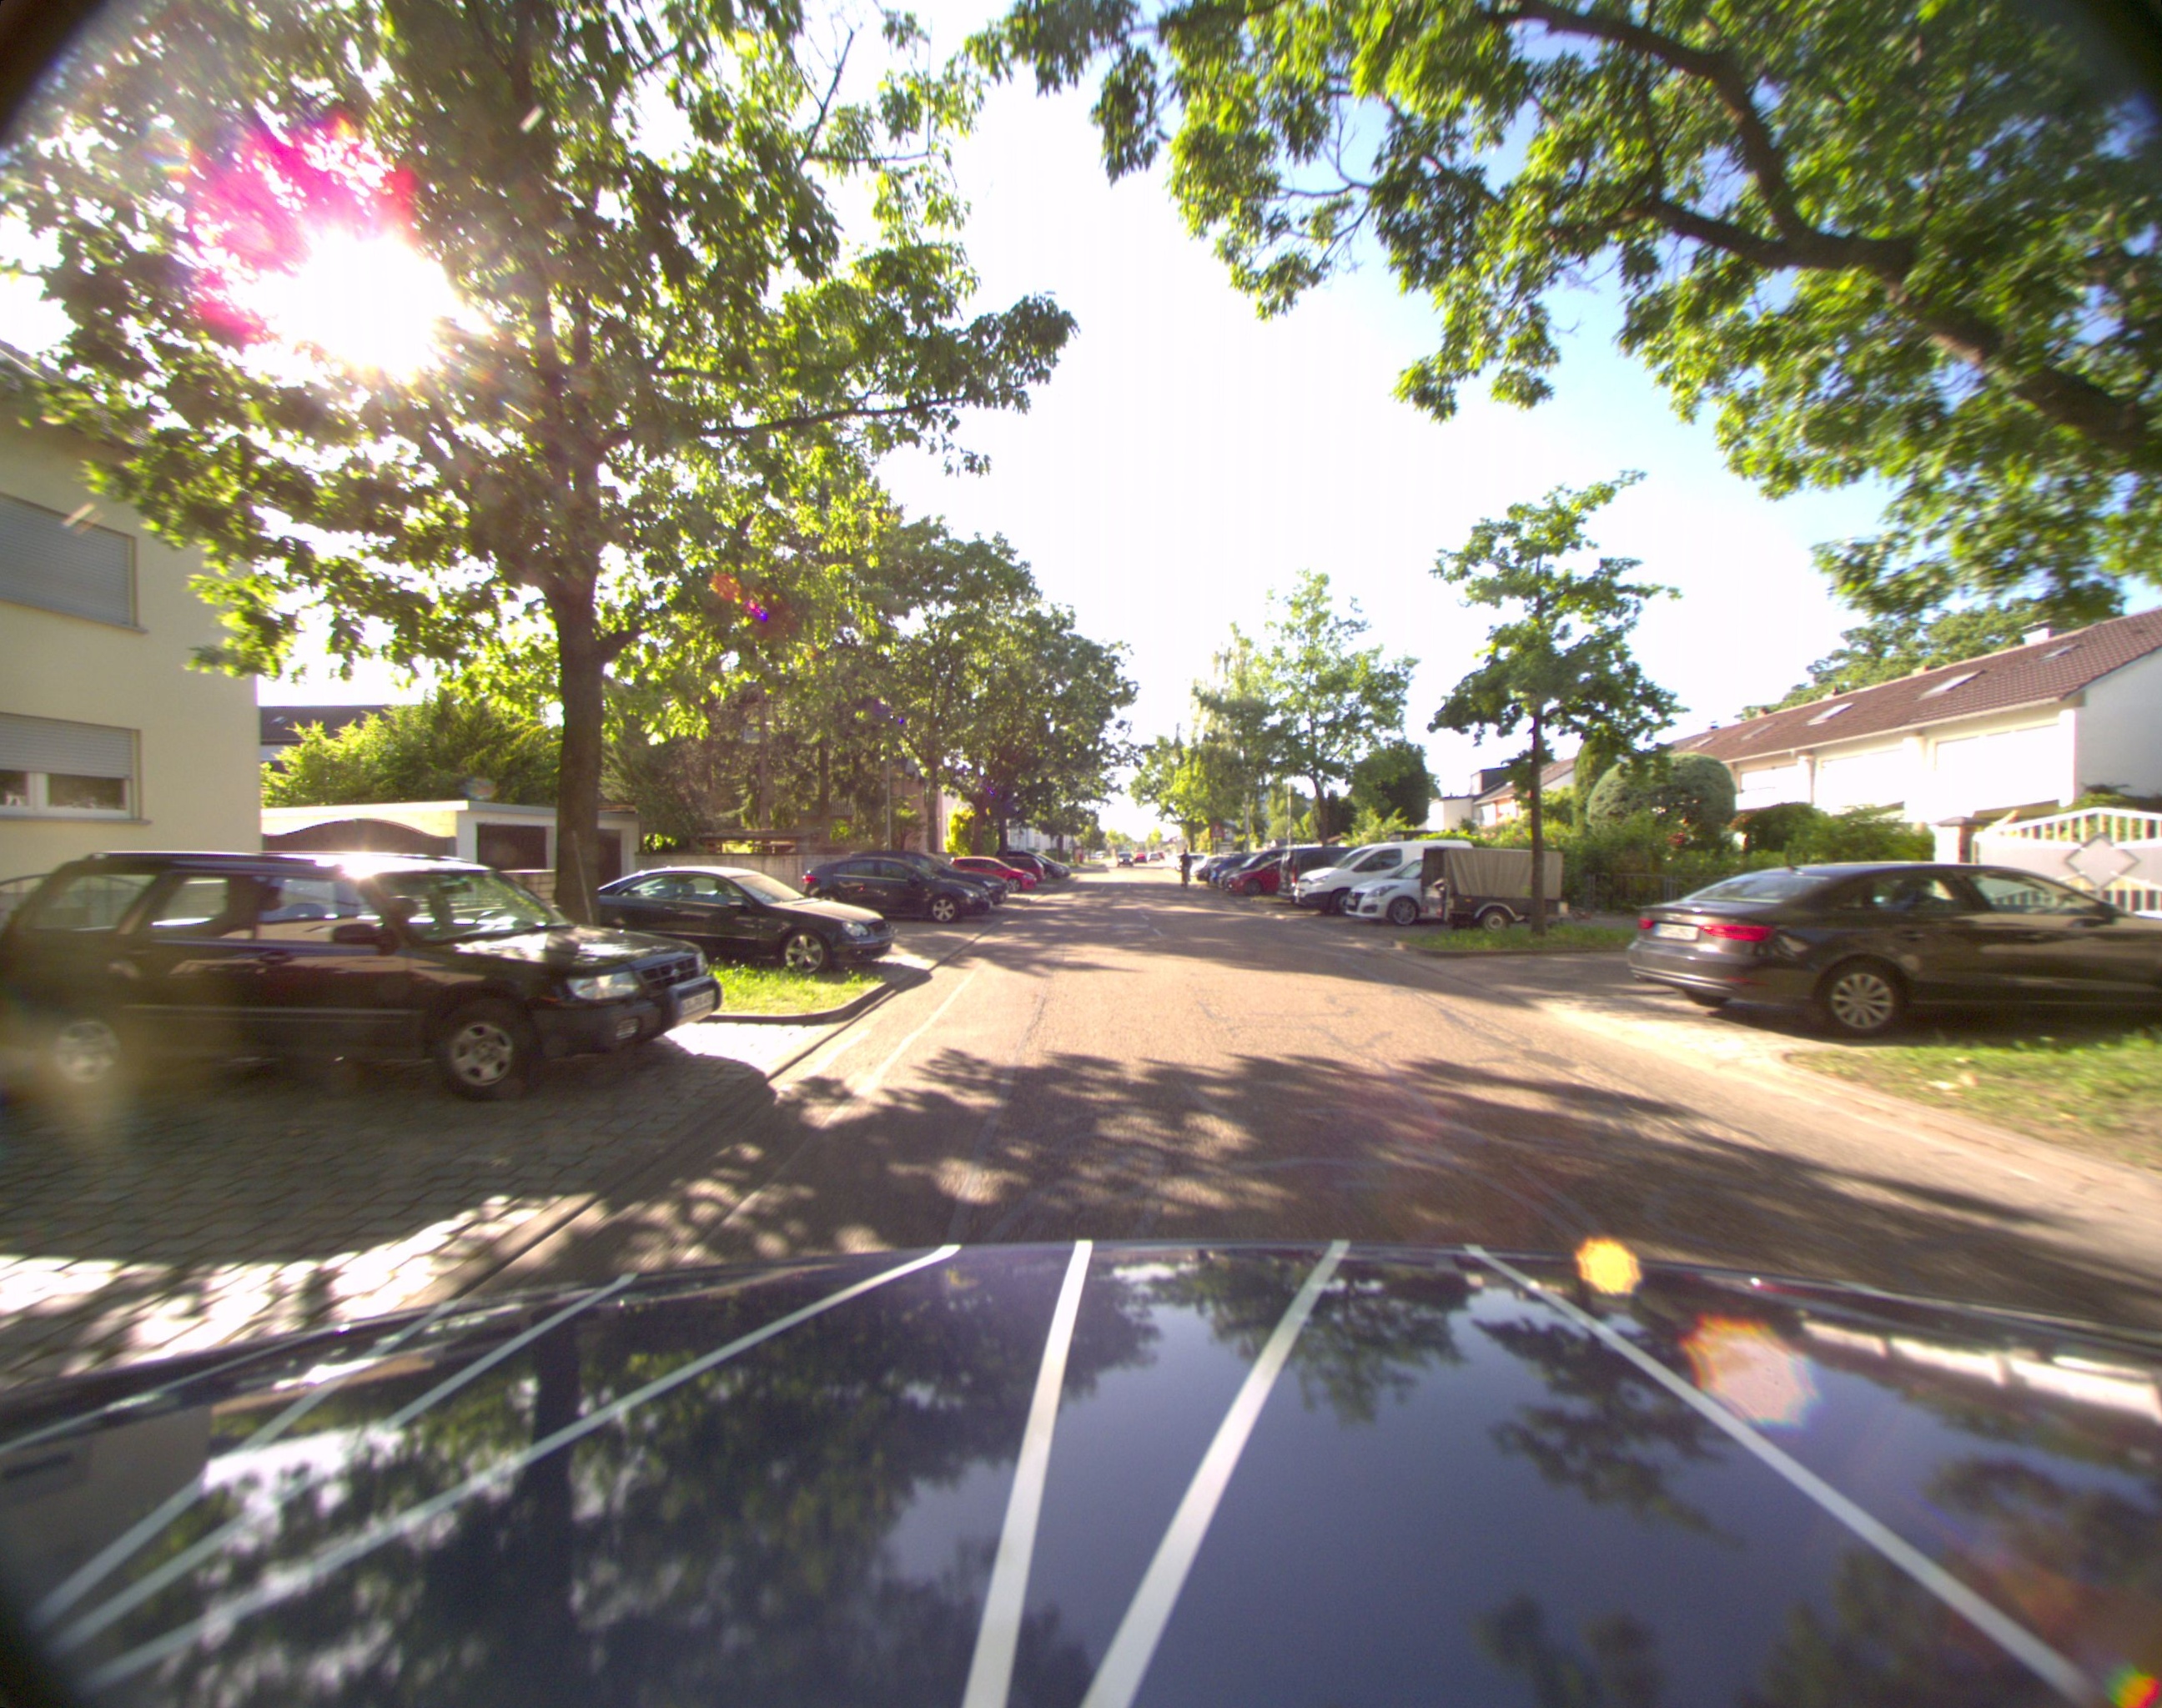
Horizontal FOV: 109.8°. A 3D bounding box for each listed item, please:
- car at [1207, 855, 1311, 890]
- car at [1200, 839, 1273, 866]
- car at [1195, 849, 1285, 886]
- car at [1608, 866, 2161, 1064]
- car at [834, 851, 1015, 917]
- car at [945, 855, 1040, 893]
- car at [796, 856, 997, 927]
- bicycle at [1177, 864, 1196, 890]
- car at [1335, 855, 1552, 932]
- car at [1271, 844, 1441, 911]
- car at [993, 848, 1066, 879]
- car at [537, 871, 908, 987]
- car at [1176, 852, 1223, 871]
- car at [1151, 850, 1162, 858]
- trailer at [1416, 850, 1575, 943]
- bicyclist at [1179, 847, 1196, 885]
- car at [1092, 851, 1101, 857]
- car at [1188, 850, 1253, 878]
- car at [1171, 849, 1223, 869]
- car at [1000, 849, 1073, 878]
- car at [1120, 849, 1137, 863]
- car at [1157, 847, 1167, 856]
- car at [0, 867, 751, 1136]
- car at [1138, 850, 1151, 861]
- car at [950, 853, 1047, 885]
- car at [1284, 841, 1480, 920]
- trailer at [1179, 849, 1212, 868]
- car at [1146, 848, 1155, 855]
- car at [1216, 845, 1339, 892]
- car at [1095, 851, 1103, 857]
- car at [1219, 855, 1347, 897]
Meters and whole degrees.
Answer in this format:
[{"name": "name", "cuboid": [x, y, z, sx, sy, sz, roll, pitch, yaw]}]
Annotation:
[{"name": "car", "cuboid": [8.054, 0.812, 34.635, 4.282, 1.416, 1.724, -2, 0, 1]}, {"name": "car", "cuboid": [9.022, -0.091, 44.323, 4.010, 1.506, 1.795, 0, 1, 4]}, {"name": "car", "cuboid": [8.119, 0.682, 39.064, 4.220, 1.714, 1.761, -2, 1, 2]}, {"name": "car", "cuboid": [7.426, 0.890, 6.755, 4.220, 1.462, 1.691, -1, -1, 3]}, {"name": "car", "cuboid": [-4.221, 0.798, 21.026, 4.584, 1.637, 1.838, 1, 1, 1]}, {"name": "car", "cuboid": [-3.755, 0.822, 32.695, 3.786, 1.476, 1.755, 1, 2, 3]}, {"name": "car", "cuboid": [-4.303, 0.863, 18.230, 4.330, 1.521, 1.841, 1, 0, 1]}, {"name": "bicycle", "cuboid": [4.679, 1.023, 33.703, 0.598, 1.052, 1.986, 2, 1, 2]}, {"name": "car", "cuboid": [7.920, 0.830, 16.838, 3.998, 1.507, 1.690, -1, 1, -2]}, {"name": "car", "cuboid": [7.973, 0.658, 22.292, 4.249, 1.760, 1.967, -2, 1, -1]}, {"name": "car", "cuboid": [-3.087, 0.552, 46.354, 4.221, 1.771, 1.789, 2, 1, 3]}, {"name": "car", "cuboid": [-4.896, 0.992, 10.733, 4.437, 1.323, 1.691, 2, 1, 3]}, {"name": "car", "cuboid": [9.587, 0.603, 61.596, 3.523, 1.487, 1.708, 0, 0, 1]}, {"name": "car", "cuboid": [12.272, -0.002, 124.084, 1.764, 1.390, 3.852, 0, 0, 6]}, {"name": "trailer", "cuboid": [7.764, 0.771, 14.379, 2.240, 1.664, 1.475, 0, 0, 5]}, {"name": "bicyclist", "cuboid": [4.711, 0.526, 33.704, 0.597, 1.664, 0.975, 2, 1, 2]}, {"name": "car", "cuboid": [3.661, 0.004, 180.613, 1.944, 1.412, 4.001, 0, 0, 5]}, {"name": "car", "cuboid": [9.022, 0.643, 49.447, 3.947, 1.604, 1.706, -2, 0, 4]}, {"name": "car", "cuboid": [9.775, 0.407, 64.091, 3.964, 1.565, 1.921, -2, 2, -4]}, {"name": "car", "cuboid": [-2.839, 0.592, 49.440, 4.513, 1.670, 1.879, 2, 1, 2]}, {"name": "car", "cuboid": [5.487, 0.201, 88.023, 1.877, 1.469, 3.851, -1, 1, 5]}, {"name": "car", "cuboid": [14.310, -0.360, 134.259, 1.764, 1.469, 3.852, -2, 0, 5]}, {"name": "car", "cuboid": [-5.022, 0.924, 5.606, 4.349, 1.551, 1.867, 1, 1, 0]}, {"name": "car", "cuboid": [9.125, 0.211, 108.747, 1.741, 1.532, 3.949, 0, 0, 7]}, {"name": "car", "cuboid": [-4.042, 0.712, 37.566, 4.513, 1.437, 1.838, 1, 1, 3]}, {"name": "car", "cuboid": [7.604, 0.641, 19.534, 4.247, 1.933, 2.000, 0, 1, -1]}, {"name": "trailer", "cuboid": [10.370, 0.384, 68.778, 2.766, 1.638, 1.299, -1, 3, -1]}, {"name": "car", "cuboid": [15.161, -0.478, 165.489, 1.877, 1.470, 3.851, 0, 1, 5]}, {"name": "car", "cuboid": [8.160, 0.581, 31.849, 4.685, 1.758, 1.795, -2, 0, 1]}, {"name": "car", "cuboid": [4.563, -0.022, 192.224, 1.830, 1.324, 3.679, 0, 0, 6]}, {"name": "car", "cuboid": [7.698, 0.839, 29.323, 4.486, 1.491, 1.837, -1, 1, 4]}]
